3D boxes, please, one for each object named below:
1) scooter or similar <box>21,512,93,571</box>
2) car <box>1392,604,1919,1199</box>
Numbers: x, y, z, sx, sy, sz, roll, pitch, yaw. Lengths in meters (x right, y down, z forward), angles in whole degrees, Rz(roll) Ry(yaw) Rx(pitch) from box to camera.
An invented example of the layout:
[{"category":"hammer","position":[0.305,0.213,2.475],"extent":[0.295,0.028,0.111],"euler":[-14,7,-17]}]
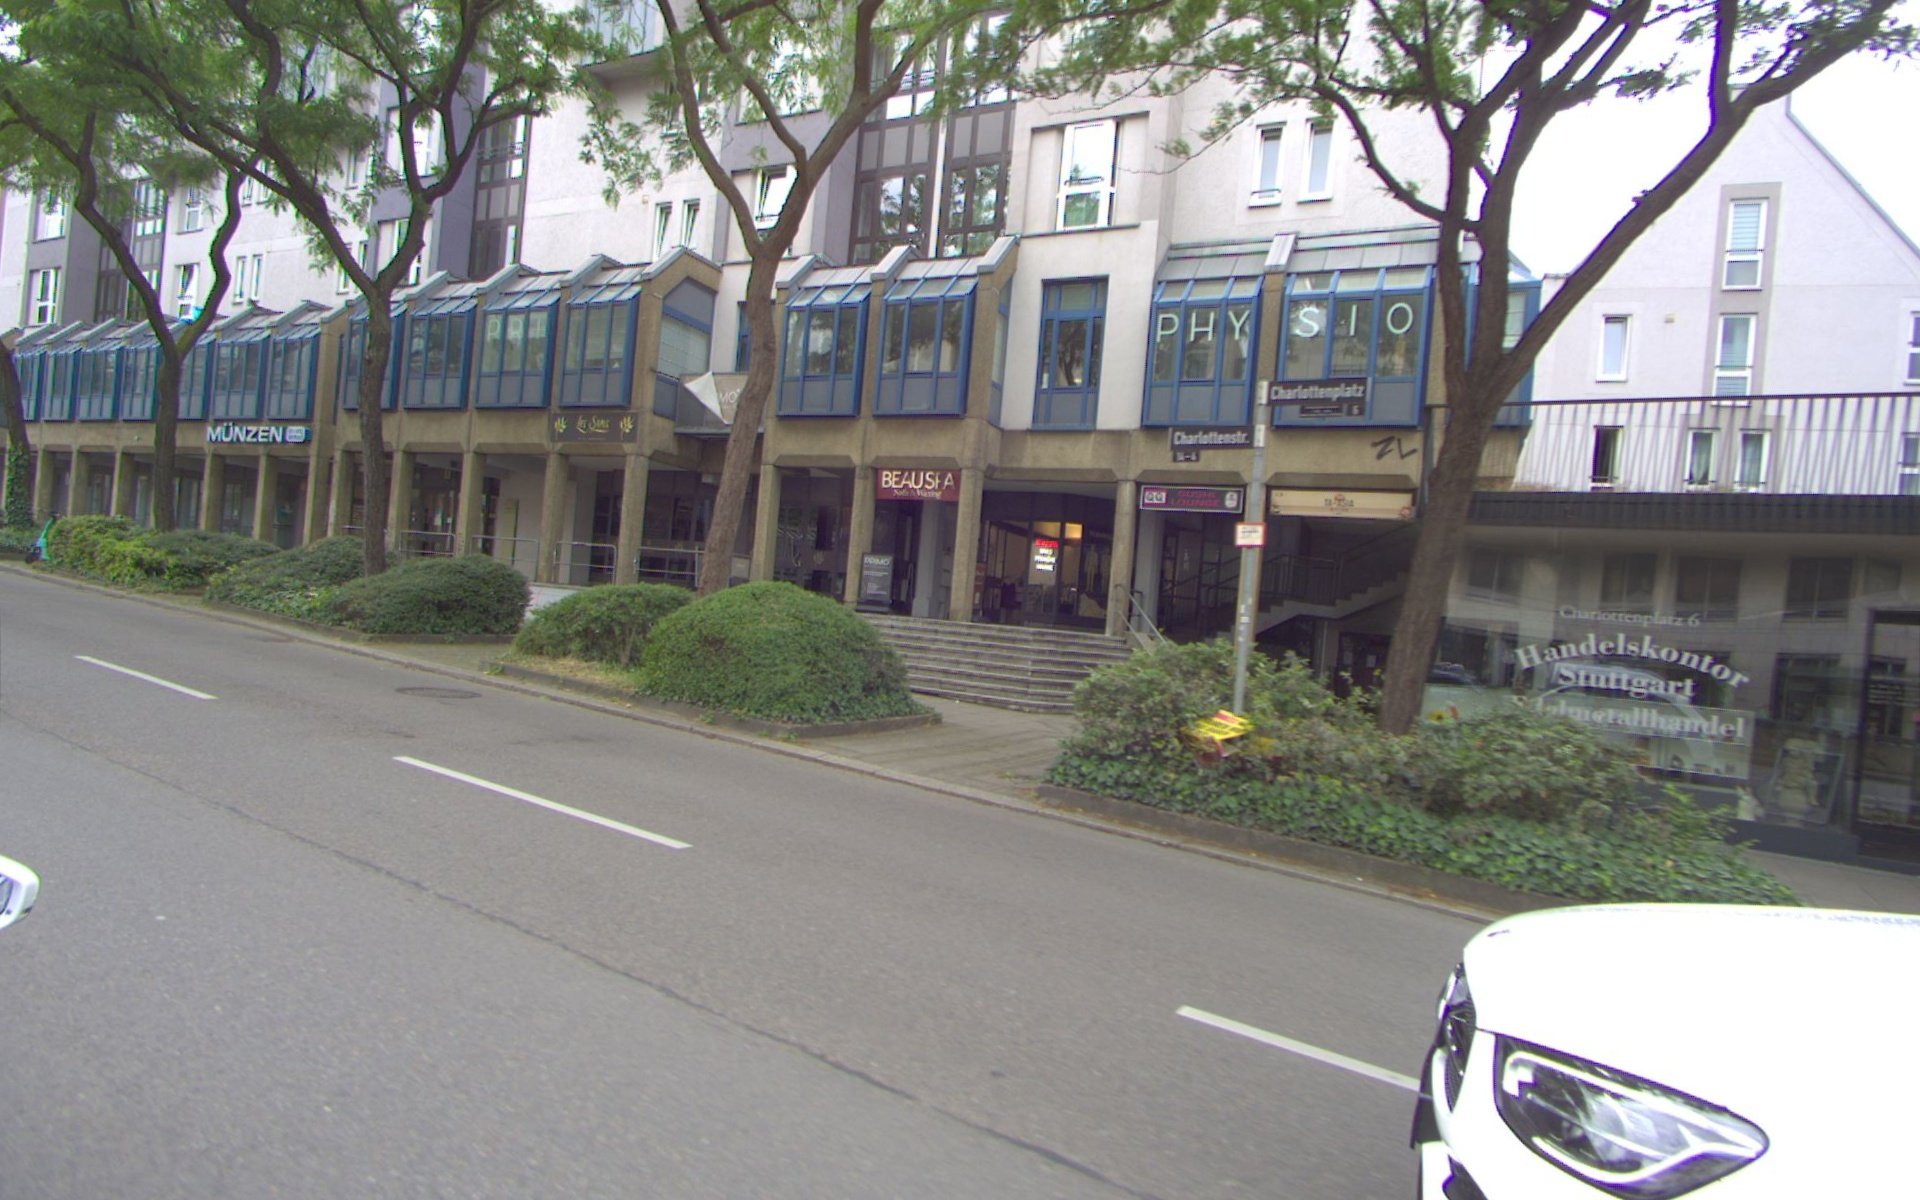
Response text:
[{"category":"scooter or similar","position":[-20.109,-1.296,22.410],"extent":[0.421,1.197,1.105],"euler":[8,2,41]},{"category":"car","position":[3.003,1.063,1.340],"extent":[4.262,1.668,1.803],"euler":[6,1,31]}]
